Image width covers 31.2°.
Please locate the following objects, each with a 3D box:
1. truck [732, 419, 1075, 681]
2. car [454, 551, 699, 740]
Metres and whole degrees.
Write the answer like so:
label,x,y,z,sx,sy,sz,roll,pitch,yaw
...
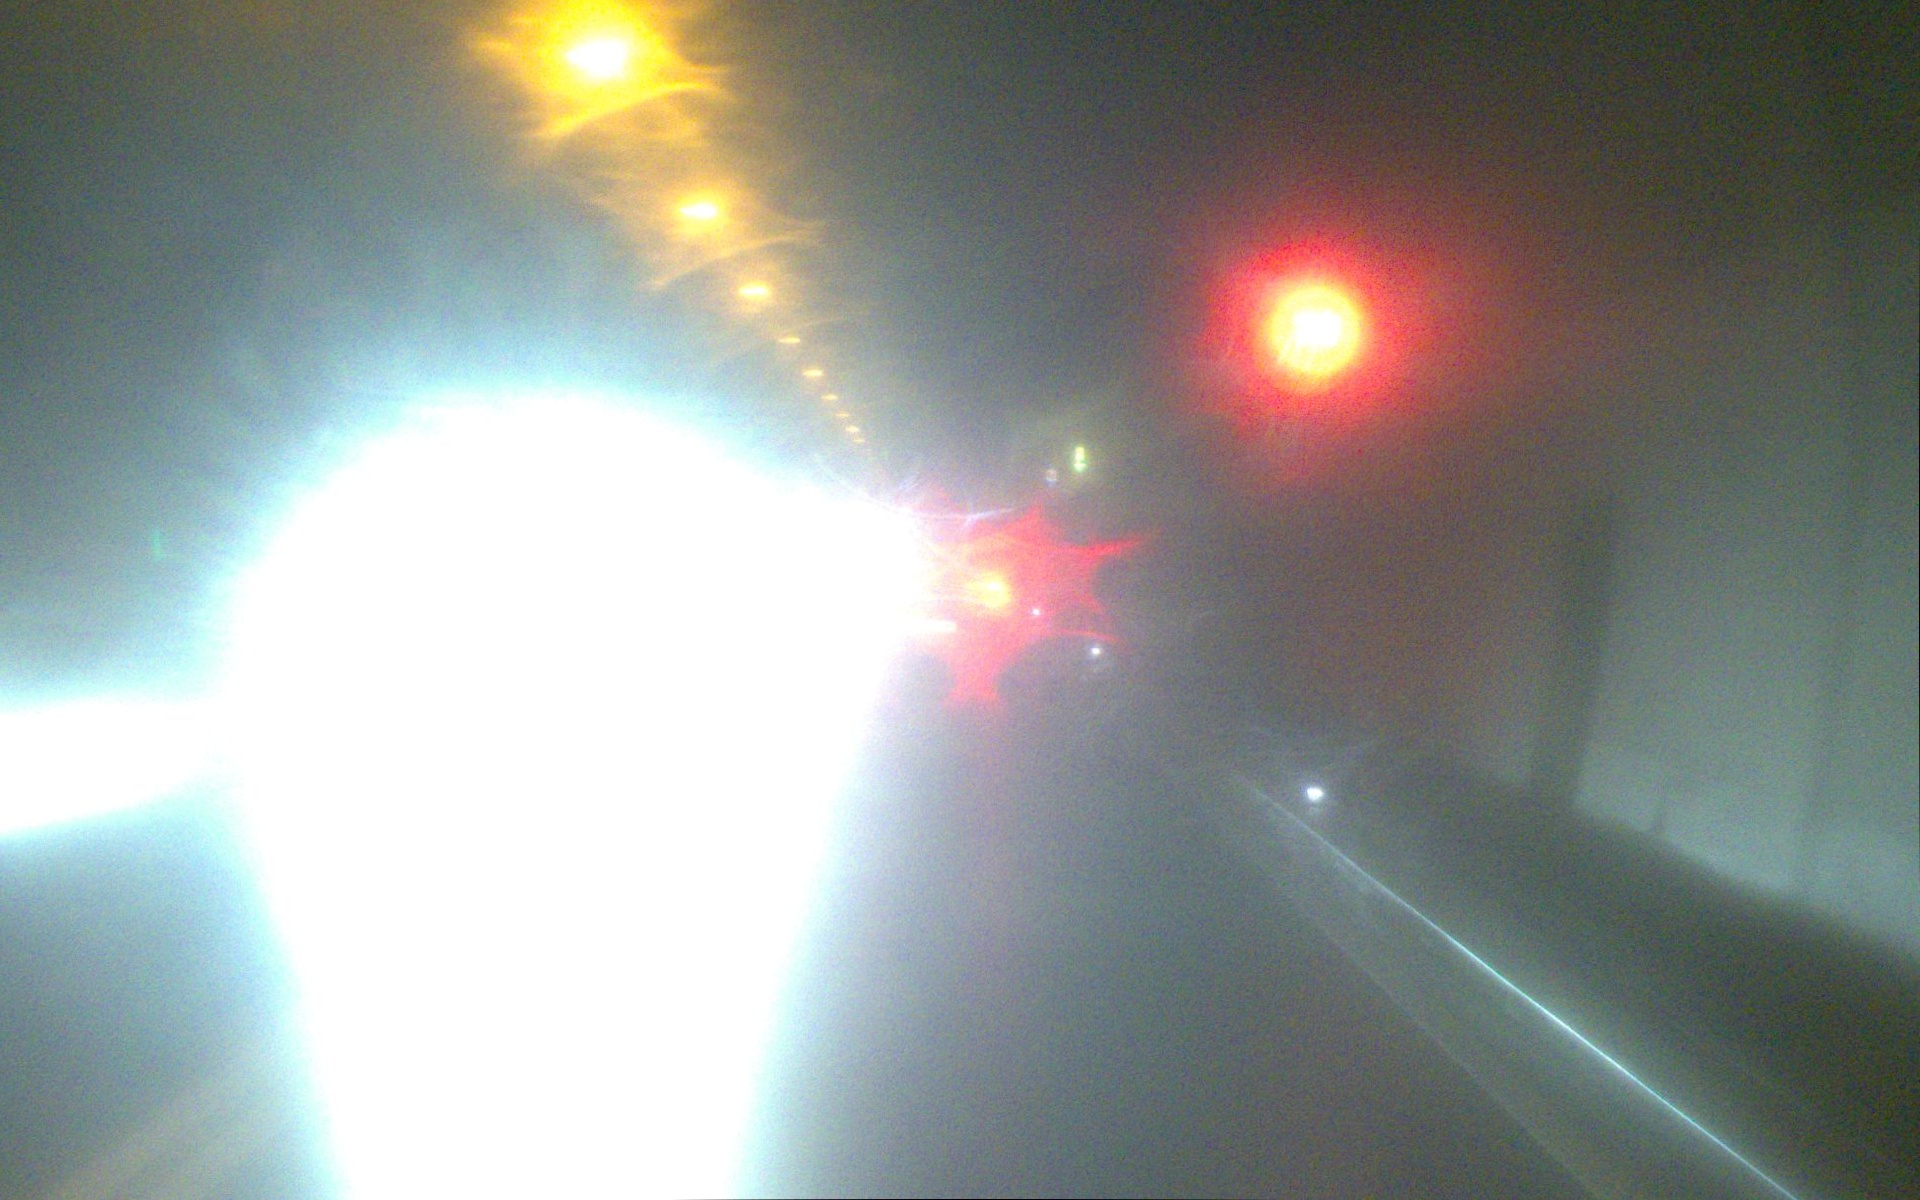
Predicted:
label,x,y,z,sx,sy,sz,roll,pitch,yaw
truck,-0.596,-0.579,40.002,3.535,2.684,8.956,0,1,0
car,-3.409,0.360,31.174,1.756,1.523,3.815,3,1,0
